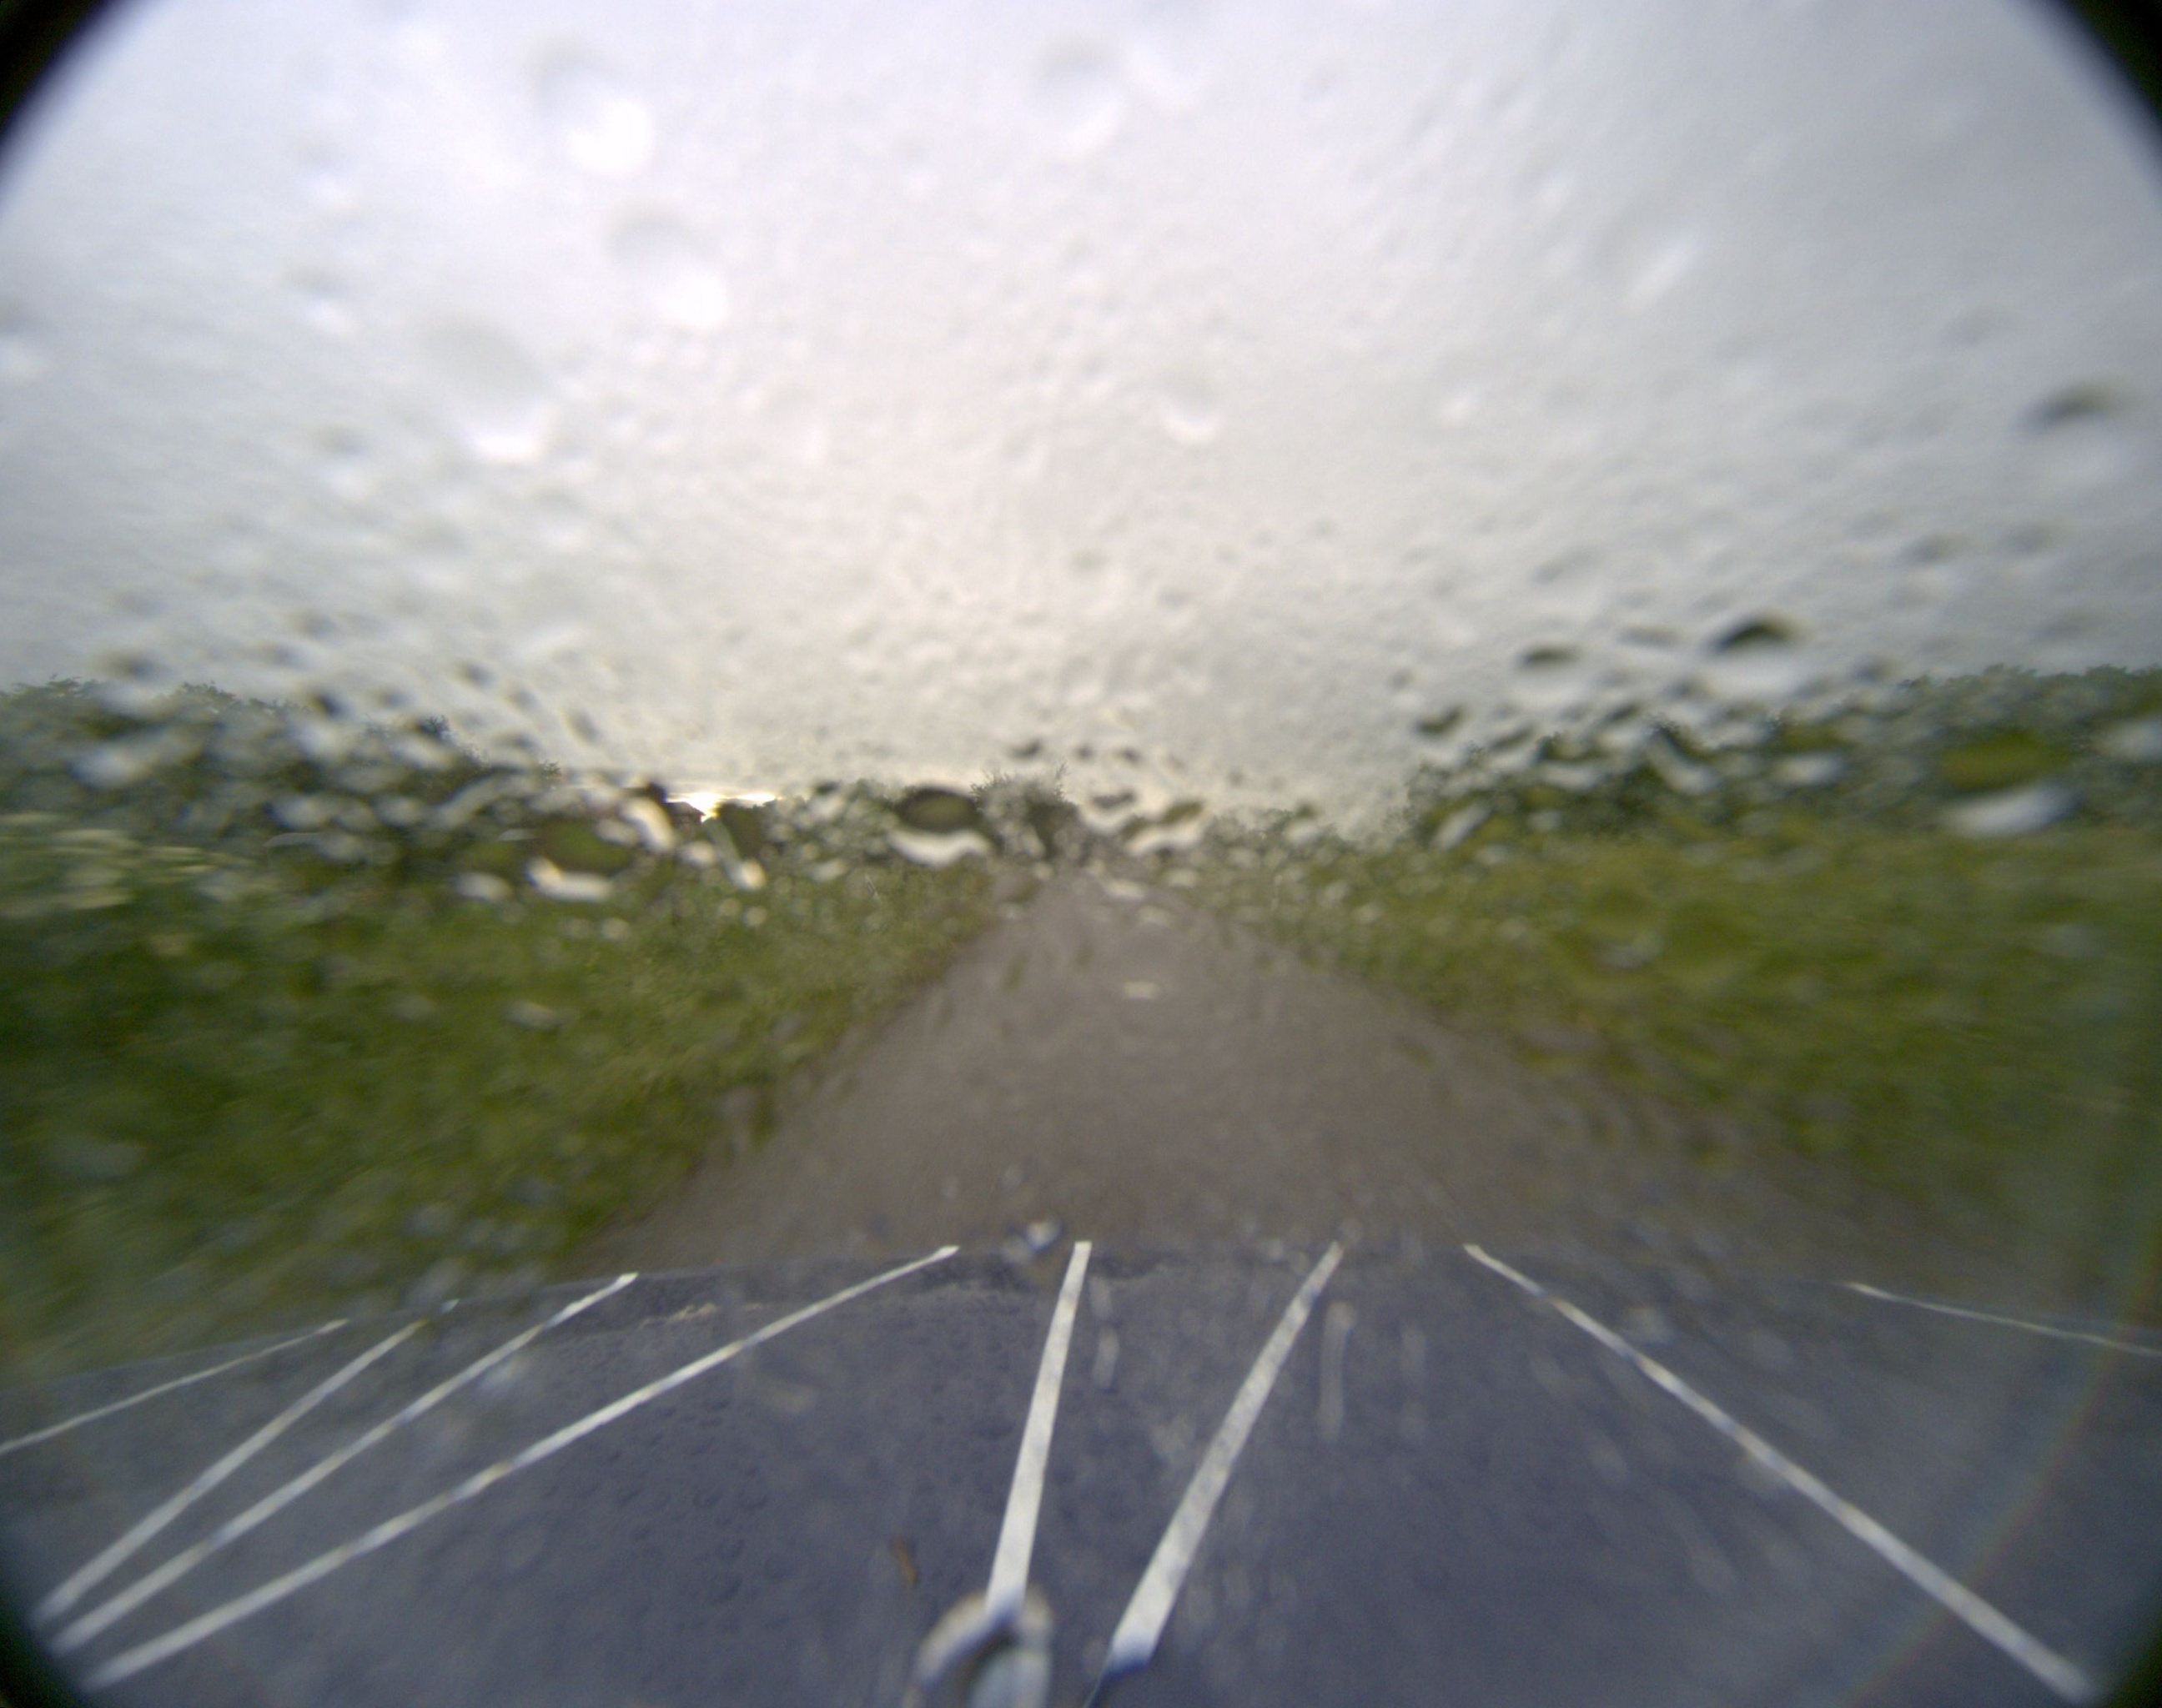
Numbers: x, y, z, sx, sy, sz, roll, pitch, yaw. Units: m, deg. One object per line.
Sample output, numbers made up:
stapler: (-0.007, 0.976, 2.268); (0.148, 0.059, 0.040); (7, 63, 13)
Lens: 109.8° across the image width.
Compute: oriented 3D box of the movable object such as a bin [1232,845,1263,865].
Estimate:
movable object such as a bin: (13.879, 0.033, 63.502); (1.683, 1.562, 3.537); (-2, 1, -1)
